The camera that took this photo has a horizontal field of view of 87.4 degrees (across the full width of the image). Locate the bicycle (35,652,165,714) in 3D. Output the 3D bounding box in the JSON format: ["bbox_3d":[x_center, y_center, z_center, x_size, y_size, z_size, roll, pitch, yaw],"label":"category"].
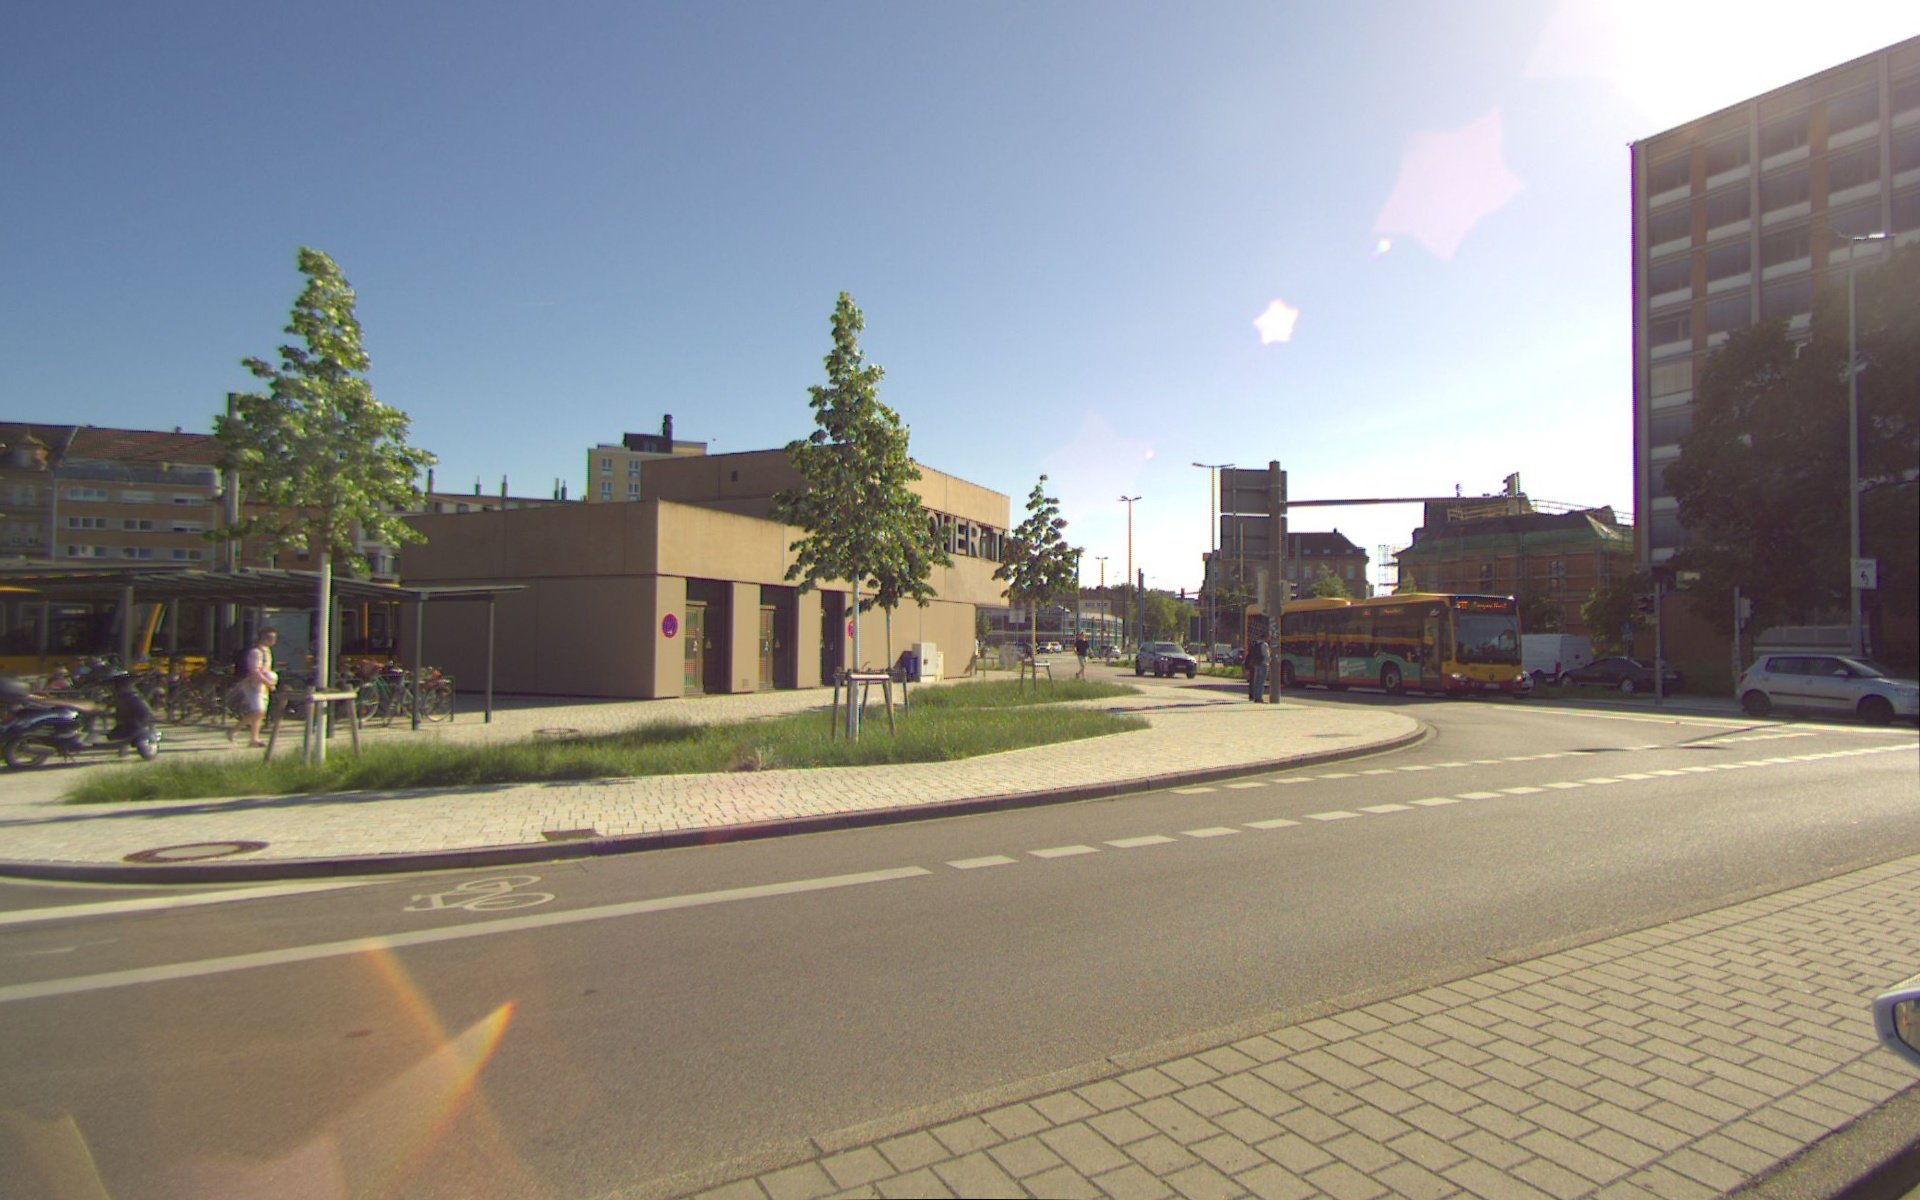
[{"bbox_3d":[-16.925,1.607,19.826,0.617,1.146,1.828,0,-2,27],"label":"bicycle"}]

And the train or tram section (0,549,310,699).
[{"bbox_3d":[-24.141,0.636,26.328,2.779,3.648,12.320,0,-2,24],"label":"train or tram section"}]

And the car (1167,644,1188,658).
[{"bbox_3d":[28.222,6.549,130.308,1.960,1.603,4.001,2,0,2],"label":"car"}]

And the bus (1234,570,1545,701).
[{"bbox_3d":[13.716,1.212,34.173,3.193,3.617,12.437,1,-2,-12],"label":"bus"}]

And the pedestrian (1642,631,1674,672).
[{"bbox_3d":[34.958,2.578,50.321,0.995,2.040,0.826,1,-2,-1],"label":"pedestrian"}]

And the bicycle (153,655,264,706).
[{"bbox_3d":[-16.271,1.730,21.800,0.617,1.021,1.829,0,-2,25],"label":"bicycle"}]

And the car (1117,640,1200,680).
[{"bbox_3d":[10.004,2.980,50.968,1.975,1.885,4.720,1,-2,-21],"label":"car"}]

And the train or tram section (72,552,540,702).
[{"bbox_3d":[-18.776,0.870,30.613,2.702,3.648,12.318,0,-2,25],"label":"train or tram section"}]

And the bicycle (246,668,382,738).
[{"bbox_3d":[-10.686,1.674,16.680,0.617,1.021,1.828,0,-2,27],"label":"bicycle"}]

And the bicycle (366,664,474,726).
[{"bbox_3d":[-9.836,1.705,18.381,0.616,1.021,1.832,0,-2,16],"label":"bicycle"}]

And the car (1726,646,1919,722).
[{"bbox_3d":[19.828,1.848,22.522,1.862,1.421,3.844,4,-2,-16],"label":"car"}]

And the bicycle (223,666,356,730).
[{"bbox_3d":[-11.629,1.676,17.497,0.492,1.010,1.887,0,-2,31],"label":"bicycle"}]

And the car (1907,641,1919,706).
[{"bbox_3d":[31.793,2.279,29.841,2.037,2.040,5.002,1,-2,-14],"label":"car"}]

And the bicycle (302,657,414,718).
[{"bbox_3d":[-11.760,1.683,19.685,0.617,1.107,1.829,0,-2,25],"label":"bicycle"}]

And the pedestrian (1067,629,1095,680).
[{"bbox_3d":[4.491,2.003,37.270,0.826,1.869,0.866,1,-2,-7],"label":"pedestrian"}]

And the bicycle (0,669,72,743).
[{"bbox_3d":[-14.118,1.547,14.509,0.617,1.021,1.829,0,-2,25],"label":"bicycle"}]

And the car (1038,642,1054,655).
[{"bbox_3d":[12.145,6.782,141.675,1.959,1.814,4.003,0,-2,11],"label":"car"}]

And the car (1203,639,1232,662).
[{"bbox_3d":[25.942,5.073,101.318,2.024,2.040,4.001,2,0,3],"label":"car"}]

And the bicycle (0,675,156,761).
[{"bbox_3d":[-12.051,1.556,13.517,0.617,1.021,1.829,0,-2,25],"label":"bicycle"}]

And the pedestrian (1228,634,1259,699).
[{"bbox_3d":[7.591,1.773,26.927,0.594,1.719,0.634,1,-2,-7],"label":"pedestrian"}]

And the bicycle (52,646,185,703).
[{"bbox_3d":[-16.006,1.388,19.163,0.617,1.021,1.828,0,-2,27],"label":"bicycle"}]

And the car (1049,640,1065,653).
[{"bbox_3d":[14.232,6.850,147.269,1.865,1.728,4.002,0,0,11],"label":"car"}]

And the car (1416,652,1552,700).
[{"bbox_3d":[17.135,2.453,33.073,1.730,1.391,3.988,1,-2,-15],"label":"car"}]

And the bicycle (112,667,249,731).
[{"bbox_3d":[-13.878,1.738,17.934,0.617,1.021,1.828,0,-2,27],"label":"bicycle"}]

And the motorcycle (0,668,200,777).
[{"bbox_3d":[-10.933,1.475,12.472,0.599,1.173,2.360,0,-2,25],"label":"motorcycle"}]

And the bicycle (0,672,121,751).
[{"bbox_3d":[-13.134,1.555,14.069,0.617,1.021,2.026,0,-2,25],"label":"bicycle"}]

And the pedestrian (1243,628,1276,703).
[{"bbox_3d":[7.635,1.662,25.649,0.594,1.880,0.681,1,-2,-7],"label":"pedestrian"}]

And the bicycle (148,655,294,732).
[{"bbox_3d":[-12.902,1.595,17.626,0.496,1.225,2.051,0,-2,26],"label":"bicycle"}]

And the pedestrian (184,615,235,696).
[{"bbox_3d":[-17.751,1.300,23.778,0.738,1.880,0.709,1,-2,-19],"label":"pedestrian"}]

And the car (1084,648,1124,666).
[{"bbox_3d":[15.169,6.012,105.733,3.945,1.795,1.773,-1,-3,44],"label":"car"}]

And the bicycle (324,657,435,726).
[{"bbox_3d":[-10.756,1.671,18.680,0.616,1.161,1.831,0,-2,18],"label":"bicycle"}]

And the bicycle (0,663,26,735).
[{"bbox_3d":[-15.286,1.513,15.008,0.617,1.094,1.829,0,-2,25],"label":"bicycle"}]

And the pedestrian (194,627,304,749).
[{"bbox_3d":[-10.413,1.272,14.752,1.005,1.727,0.838,1,-2,-7],"label":"pedestrian"}]

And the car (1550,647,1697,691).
[{"bbox_3d":[26.677,2.744,40.631,2.066,1.602,4.845,1,-2,-14],"label":"car"}]

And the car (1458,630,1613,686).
[{"bbox_3d":[28.192,2.786,49.665,2.958,2.580,6.948,1,-2,-9],"label":"car"}]
